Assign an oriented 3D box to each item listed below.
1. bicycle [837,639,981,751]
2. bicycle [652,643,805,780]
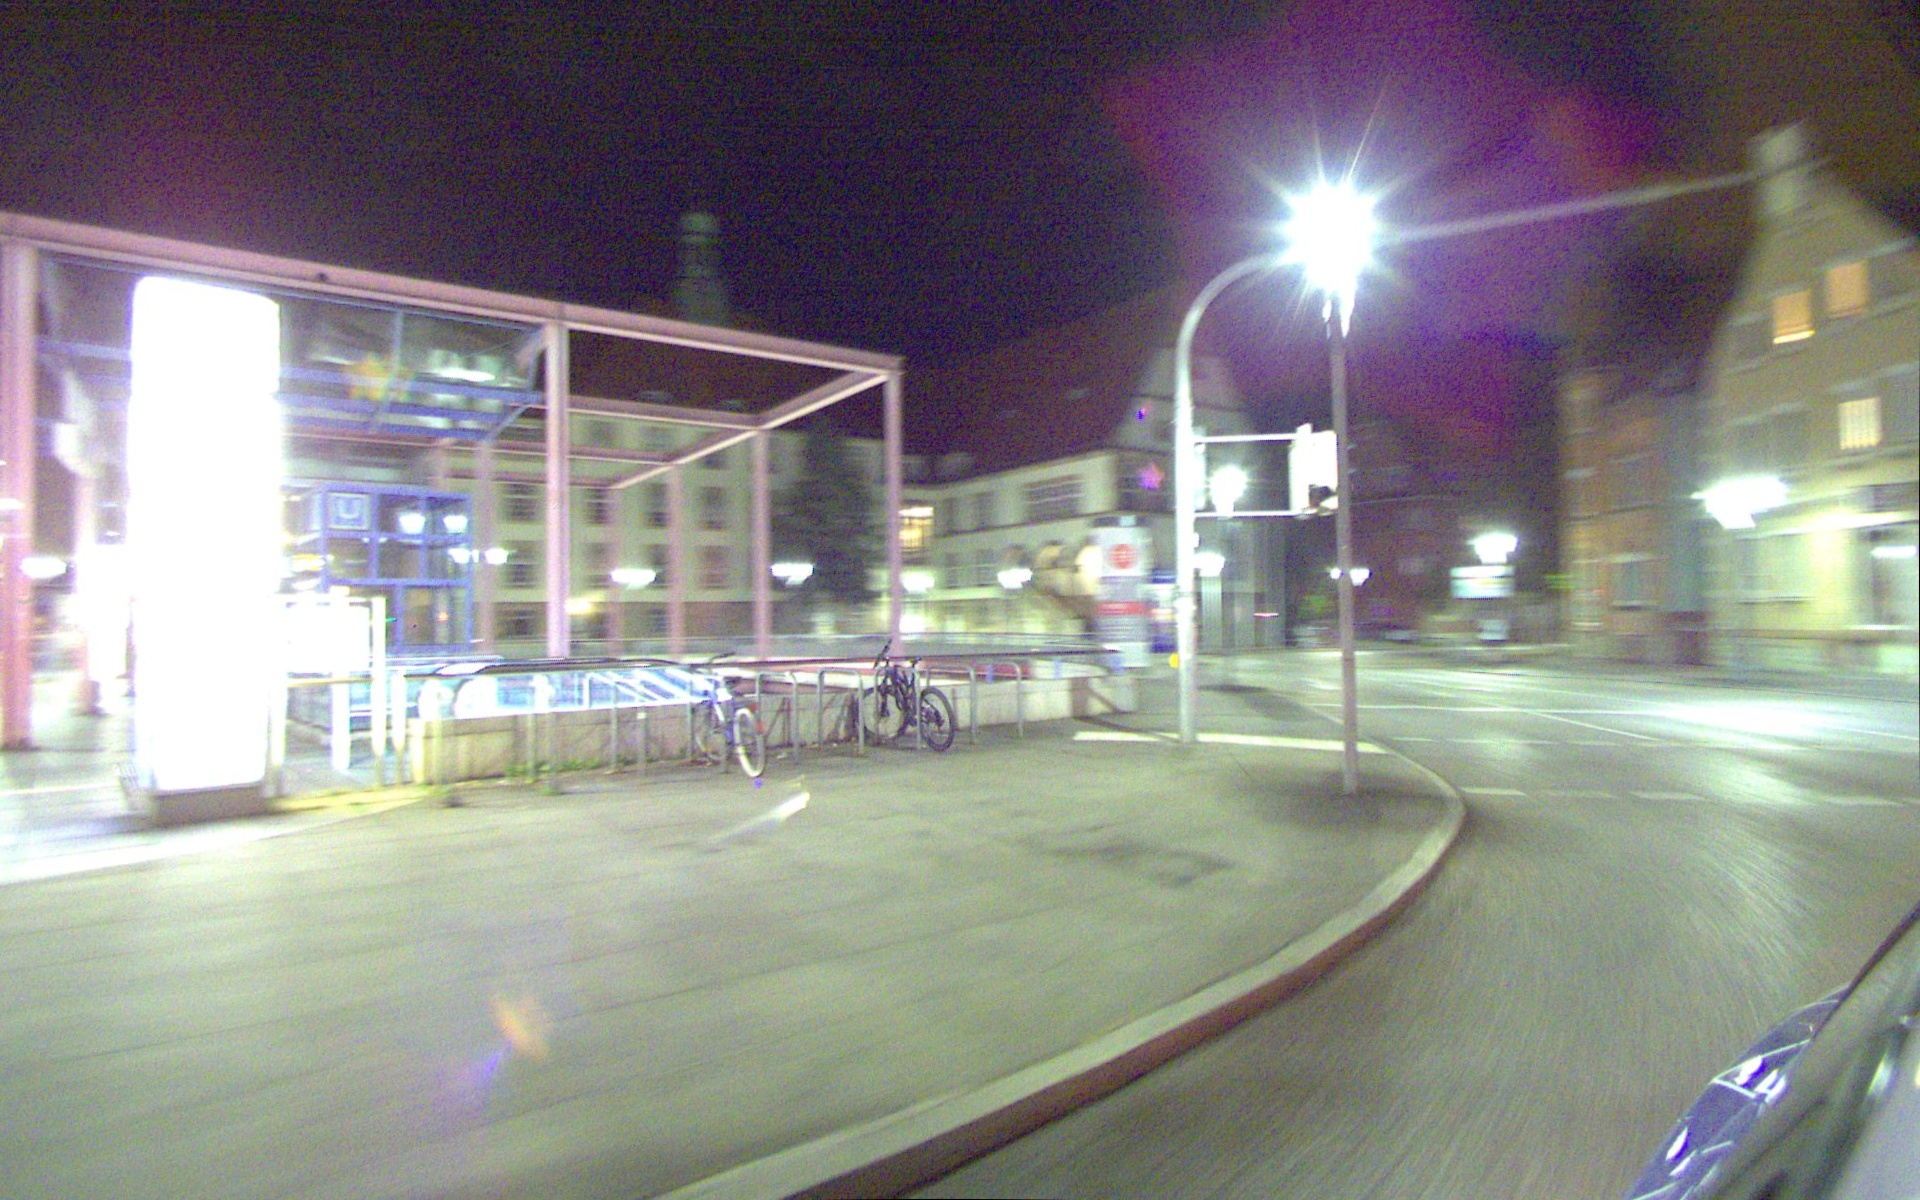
[{"bbox_3d":[-0.609,1.019,11.382,0.639,1.142,1.799,1,-2,-41],"label":"bicycle"},{"bbox_3d":[-2.231,0.995,9.606,0.639,1.142,1.799,1,-2,-41],"label":"bicycle"}]
